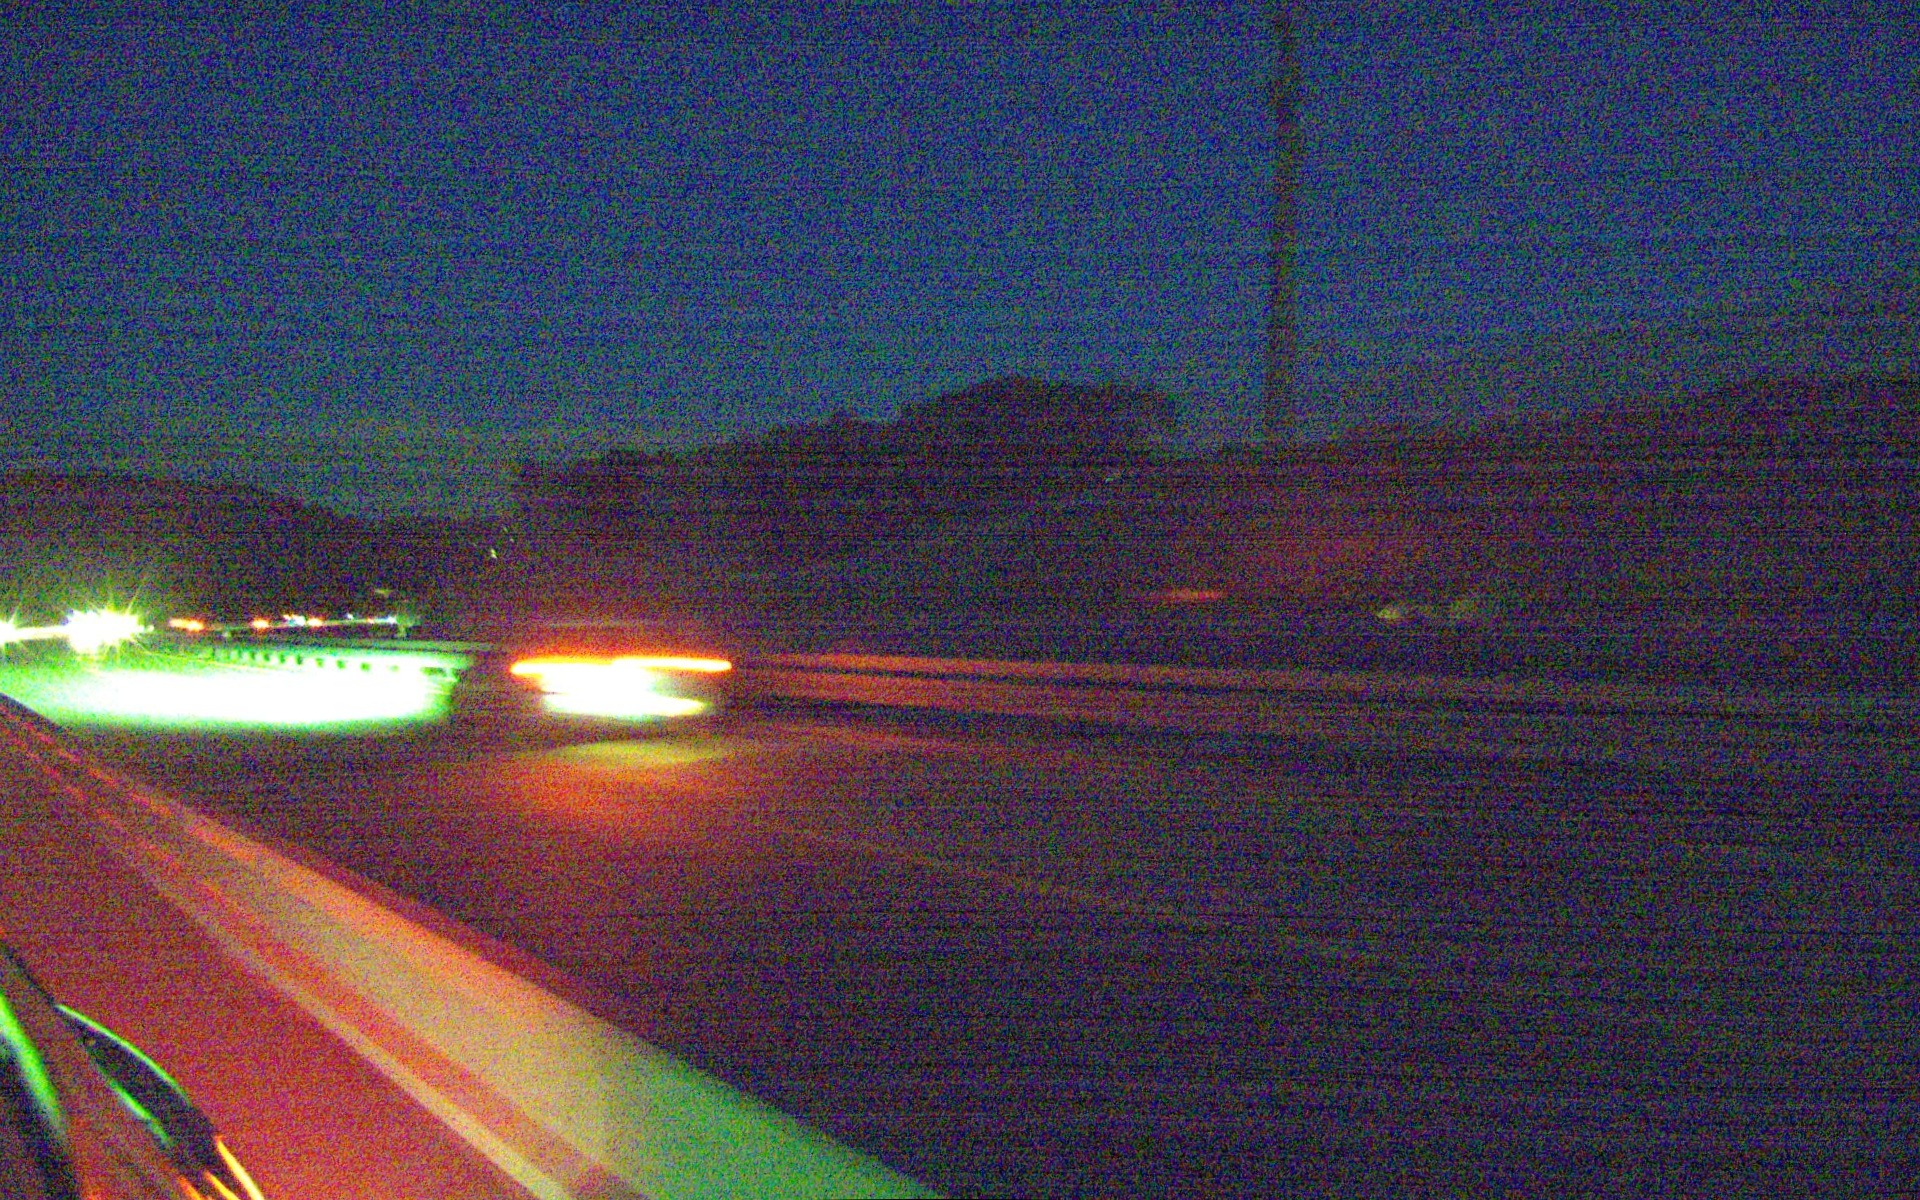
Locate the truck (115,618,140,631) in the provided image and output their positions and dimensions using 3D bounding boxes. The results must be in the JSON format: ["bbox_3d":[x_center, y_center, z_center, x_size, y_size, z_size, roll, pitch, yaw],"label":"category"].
[{"bbox_3d":[-153.295,4.536,186.452,2.387,2.443,7.112,2,-2,-30],"label":"truck"}]

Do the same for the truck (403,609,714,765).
[{"bbox_3d":[-4.835,0.872,11.910,4.150,1.481,1.666,0,0,41],"label":"truck"}]

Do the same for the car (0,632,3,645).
[{"bbox_3d":[-107.300,4.243,111.780,1.784,1.529,3.944,2,-4,-37],"label":"car"}]

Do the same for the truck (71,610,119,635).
[{"bbox_3d":[-154.460,3.949,180.852,2.923,4.307,17.198,2,-1,-29],"label":"truck"}]
